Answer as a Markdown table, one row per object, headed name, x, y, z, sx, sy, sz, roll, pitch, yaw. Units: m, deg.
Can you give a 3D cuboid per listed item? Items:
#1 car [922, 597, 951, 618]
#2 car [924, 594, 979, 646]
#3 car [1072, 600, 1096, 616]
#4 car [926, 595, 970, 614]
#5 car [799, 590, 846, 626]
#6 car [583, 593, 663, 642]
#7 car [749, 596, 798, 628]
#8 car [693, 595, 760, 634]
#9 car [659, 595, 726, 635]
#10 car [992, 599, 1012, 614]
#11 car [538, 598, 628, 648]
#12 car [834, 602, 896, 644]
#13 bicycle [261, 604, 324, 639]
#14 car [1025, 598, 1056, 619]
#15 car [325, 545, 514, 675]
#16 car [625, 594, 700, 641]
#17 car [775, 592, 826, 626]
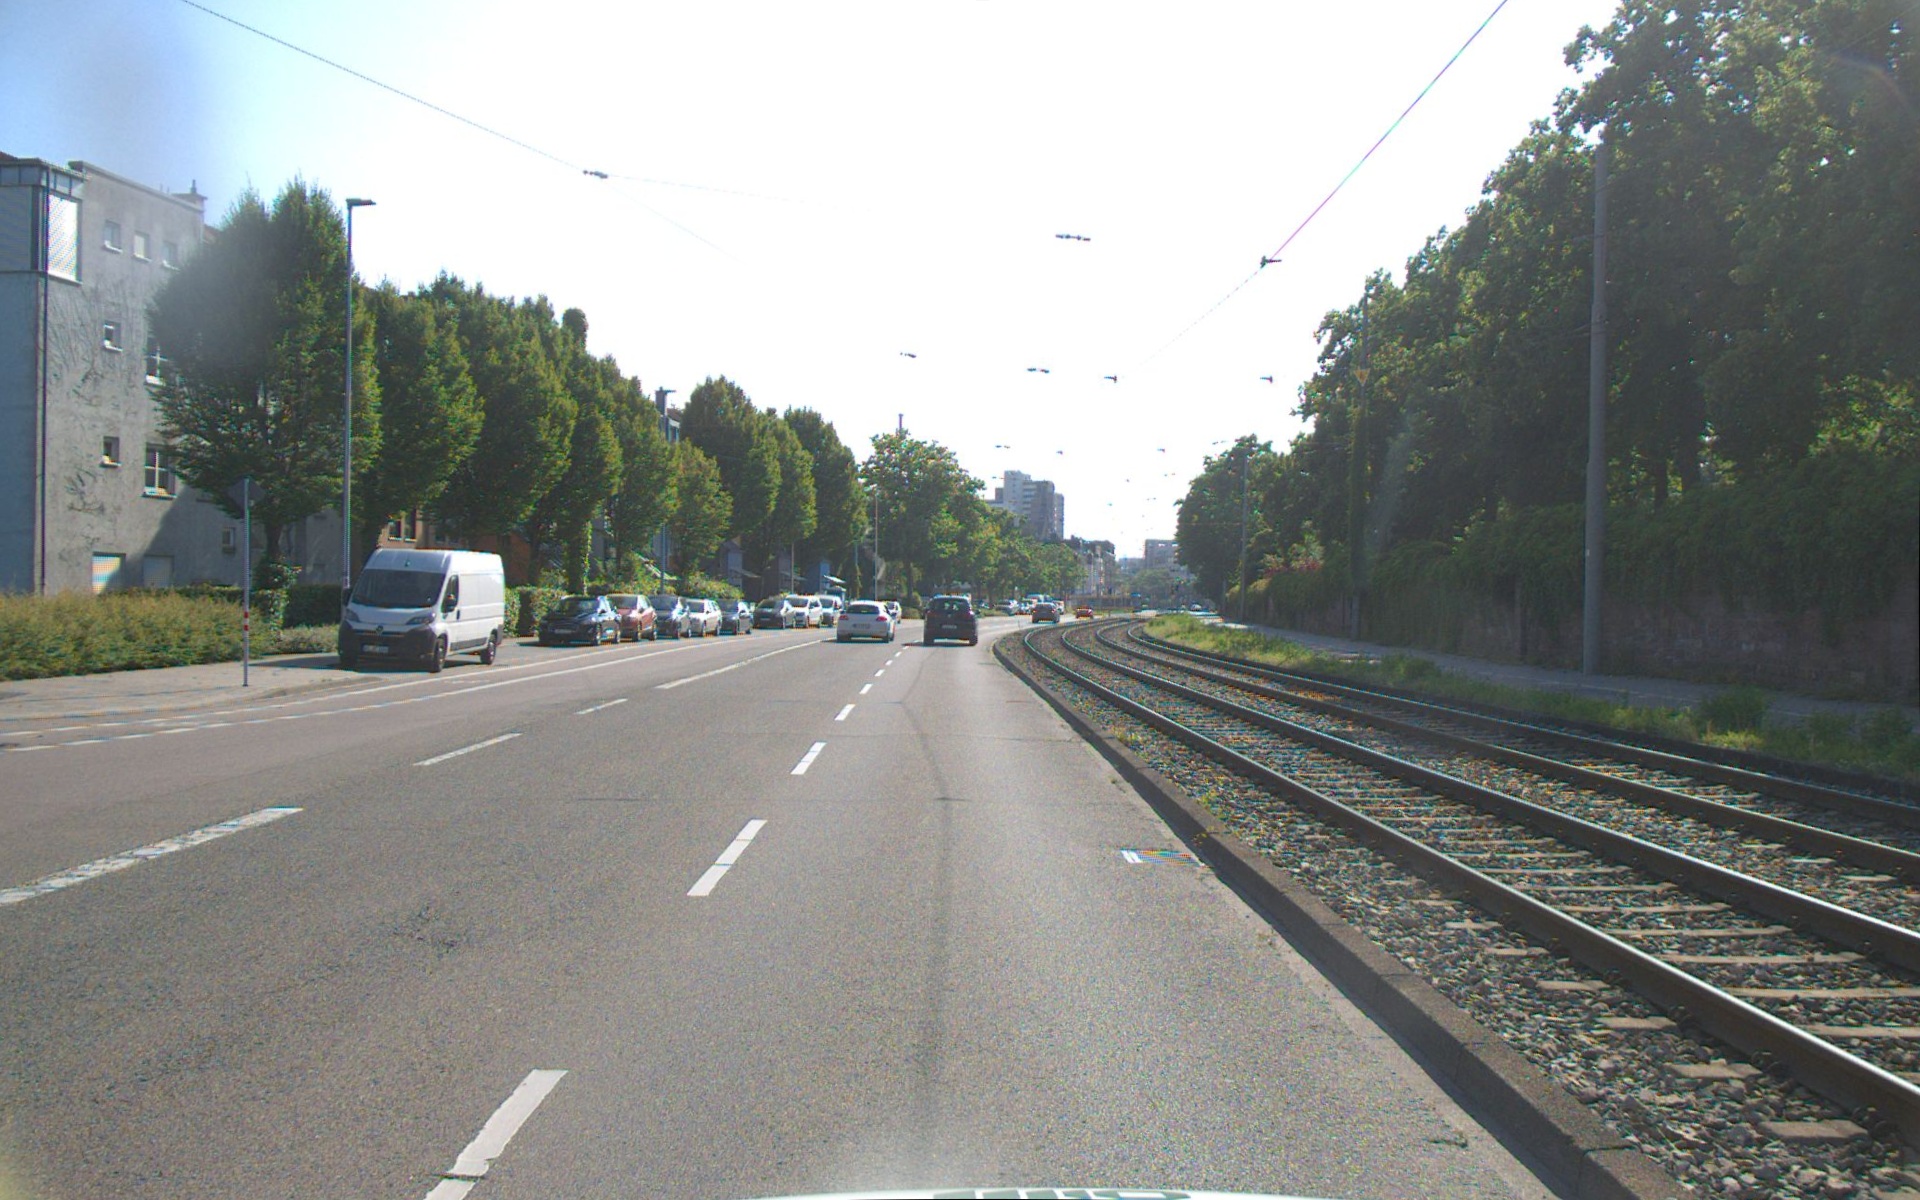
| name | x | y | z | sx | sy | sz | roll | pitch | yaw |
| --- | --- | --- | --- | --- | --- | --- | --- | --- | --- |
| car | -1.927 | 0.590 | 137.763 | 1.675 | 1.723 | 4.426 | 1 | 0 | 9 |
| car | -0.256 | 0.663 | 56.934 | 1.774 | 1.673 | 4.000 | 1 | 0 | 0 |
| car | 12.024 | 0.765 | 159.933 | 1.773 | 1.474 | 4.003 | 2 | 0 | 11 |
| car | -1.503 | 0.549 | 210.260 | 5.260 | 2.466 | 2.089 | 0 | 0 | 9 |
| car | -7.984 | 0.474 | 96.369 | 1.726 | 1.877 | 4.583 | 5 | 0 | 6 |
| car | -11.439 | 0.590 | 56.401 | 1.726 | 1.601 | 4.162 | 1 | -1 | 1 |
| car | -9.513 | 0.605 | 84.663 | 1.582 | 1.491 | 4.061 | 2 | 0 | 6 |
| car | -10.333 | 0.621 | 73.512 | 1.827 | 1.571 | 4.912 | 3 | 0 | 5 |
| car | -10.905 | 0.635 | 67.649 | 1.677 | 1.497 | 4.846 | 2 | -1 | 3 |
| car | 4.724 | 0.690 | 185.990 | 1.695 | 1.687 | 4.003 | 0 | 0 | 10 |
| car | -11.551 | 0.661 | 50.962 | 1.618 | 1.449 | 4.714 | 1 | 0 | 1 |
| car | -3.252 | 0.778 | 57.287 | 1.826 | 1.371 | 4.000 | 1 | 0 | 1 |
| bicycle | -19.973 | 0.635 | 49.484 | 1.647 | 0.994 | 0.643 | 1 | 0 | 8 |
| car | 5.825 | 0.606 | 119.188 | 1.773 | 1.474 | 4.003 | 2 | 0 | 8 |
| car | -11.621 | 0.180 | 36.096 | 2.109 | 2.500 | 6.182 | 3 | 0 | -1 |
| car | -11.159 | 0.657 | 62.247 | 1.726 | 1.601 | 4.300 | 3 | 0 | 3 |
| car | -8.657 | 0.505 | 90.172 | 1.633 | 1.730 | 4.828 | 2 | 0 | 8 |
